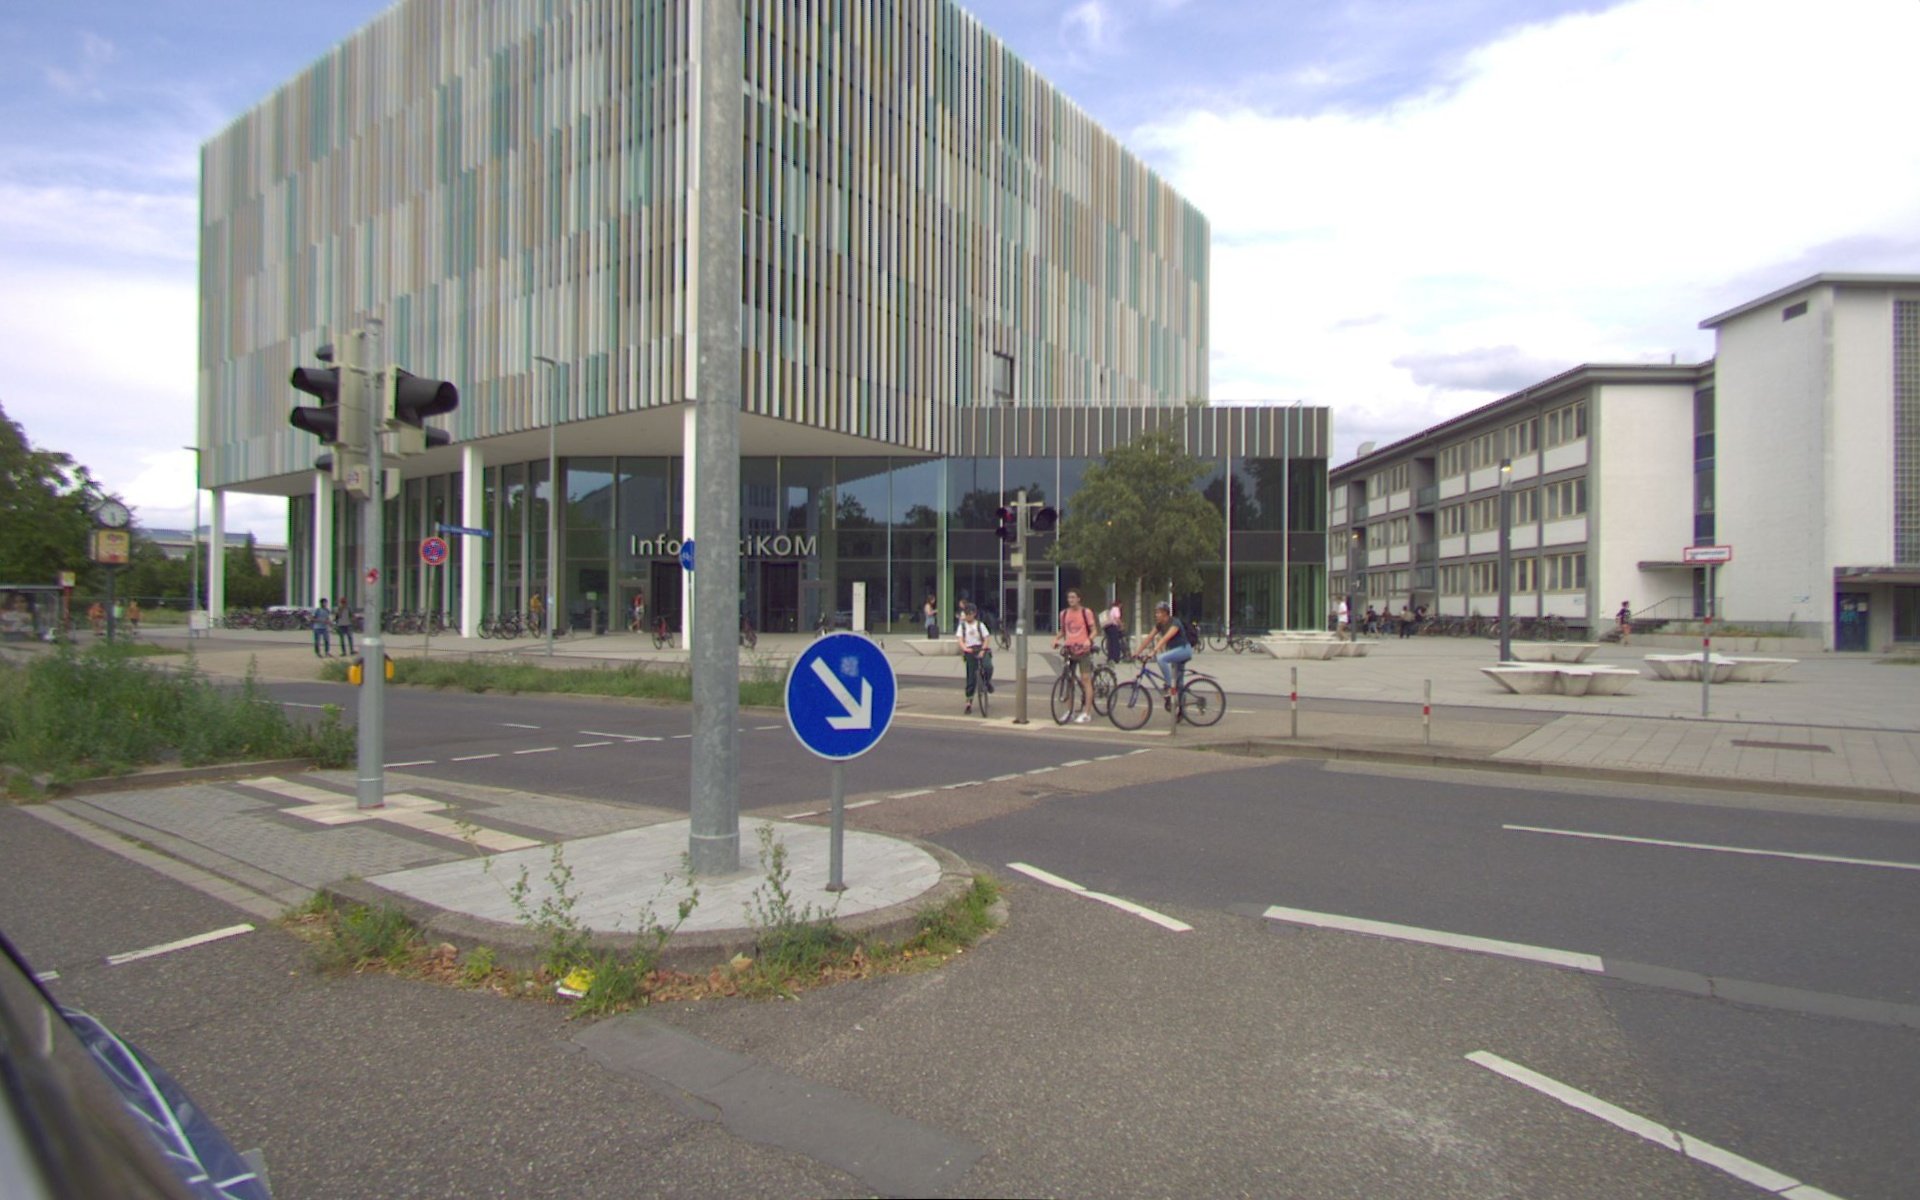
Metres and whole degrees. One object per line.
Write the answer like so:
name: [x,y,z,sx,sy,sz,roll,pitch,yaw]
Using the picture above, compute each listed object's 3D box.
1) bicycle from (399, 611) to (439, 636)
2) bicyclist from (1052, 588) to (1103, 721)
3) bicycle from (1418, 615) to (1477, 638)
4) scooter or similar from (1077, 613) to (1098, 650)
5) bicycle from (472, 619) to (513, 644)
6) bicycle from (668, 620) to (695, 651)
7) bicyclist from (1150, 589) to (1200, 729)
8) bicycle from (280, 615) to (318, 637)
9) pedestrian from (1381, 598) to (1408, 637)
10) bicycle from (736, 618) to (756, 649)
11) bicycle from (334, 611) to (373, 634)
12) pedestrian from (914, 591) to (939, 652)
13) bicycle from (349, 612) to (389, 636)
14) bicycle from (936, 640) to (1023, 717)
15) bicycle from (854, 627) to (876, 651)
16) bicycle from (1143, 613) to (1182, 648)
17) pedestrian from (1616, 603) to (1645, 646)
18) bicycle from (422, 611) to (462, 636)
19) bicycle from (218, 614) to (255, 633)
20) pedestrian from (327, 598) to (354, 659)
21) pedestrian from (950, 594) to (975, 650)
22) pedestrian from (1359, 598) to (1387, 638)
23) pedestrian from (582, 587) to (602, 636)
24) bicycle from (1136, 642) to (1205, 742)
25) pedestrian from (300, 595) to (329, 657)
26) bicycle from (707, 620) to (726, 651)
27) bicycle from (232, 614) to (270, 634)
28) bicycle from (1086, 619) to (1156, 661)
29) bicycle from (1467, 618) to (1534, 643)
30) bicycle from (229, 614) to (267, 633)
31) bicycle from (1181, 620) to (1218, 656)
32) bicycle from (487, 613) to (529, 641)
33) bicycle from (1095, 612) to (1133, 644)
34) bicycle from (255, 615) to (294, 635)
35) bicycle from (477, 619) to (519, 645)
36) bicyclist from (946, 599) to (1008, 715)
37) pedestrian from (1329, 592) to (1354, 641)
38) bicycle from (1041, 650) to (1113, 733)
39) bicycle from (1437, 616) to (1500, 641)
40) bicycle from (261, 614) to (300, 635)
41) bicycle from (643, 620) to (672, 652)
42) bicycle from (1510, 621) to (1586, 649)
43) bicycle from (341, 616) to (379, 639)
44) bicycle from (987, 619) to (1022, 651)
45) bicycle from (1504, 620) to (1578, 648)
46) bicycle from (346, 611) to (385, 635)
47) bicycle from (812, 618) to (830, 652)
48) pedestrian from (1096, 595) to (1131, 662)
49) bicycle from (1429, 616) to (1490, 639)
bicycle: [-24.264,1.055,45.403,0.388,1.031,1.565,-1,1,31]
bicyclist: [1.666,0.743,14.294,0.558,1.820,0.597,0,1,23]
bicycle: [24.894,1.353,51.711,2.638,1.142,0.745,0,-1,3]
scooter or similar: [4.229,1.034,33.683,0.588,1.207,2.122,0,-1,5]
bicycle: [-18.914,1.254,40.943,0.388,0.944,1.530,-1,1,31]
bicycle: [-9.559,1.207,34.768,0.389,0.944,1.596,-1,1,3]
bicyclist: [2.884,0.762,13.553,0.558,1.820,0.597,0,1,23]
bicycle: [-34.633,1.351,53.049,0.388,1.031,1.686,-1,1,31]
pedestrian: [21.849,0.884,50.909,0.962,1.945,1.070,0,-1,3]
bicycle: [-7.130,1.101,33.684,0.387,0.944,1.603,-1,1,-20]
bicycle: [-29.016,1.084,48.446,0.388,1.031,1.565,-1,1,31]
pedestrian: [-0.964,0.608,29.458,0.669,1.753,0.730,0,-1,3]
bicycle: [-27.060,1.086,46.336,0.388,1.031,1.565,-1,1,31]
bicycle: [0.323,1.163,15.488,0.724,0.996,1.809,0,1,22]
bicycle: [-3.192,1.293,33.804,0.387,0.678,1.801,-1,1,-16]
bicycle: [6.646,0.975,33.083,0.791,1.097,2.664,0,-1,21]
pedestrian: [24.827,0.910,37.483,0.589,1.560,0.659,0,-1,-11]
bicycle: [-22.518,1.010,44.052,0.388,1.031,1.565,-1,1,31]
bicycle: [-41.477,1.331,58.035,0.433,1.031,1.686,-1,1,31]
pedestrian: [-18.979,0.878,31.023,0.623,1.851,0.506,-2,-2,36]
pedestrian: [0.070,0.643,29.654,0.670,1.612,0.729,0,-1,6]
pedestrian: [20.636,0.896,50.575,0.962,1.945,1.070,0,-1,3]
pedestrian: [-15.469,0.478,42.544,0.623,2.059,0.506,-2,-2,35]
bicycle: [2.832,1.175,13.486,0.603,1.179,1.882,0,-1,21]
pedestrian: [-19.383,0.782,30.383,0.771,1.851,0.506,-2,-2,36]
bicycle: [-8.057,1.152,33.461,0.387,0.944,1.603,-1,1,-20]
bicycle: [-39.637,1.332,56.560,0.433,1.031,1.686,-1,1,31]
bicycle: [3.985,0.975,25.124,1.747,1.006,0.434,-1,-1,40]
bicycle: [24.801,1.404,46.469,2.638,1.142,0.745,0,-1,3]
bicycle: [-40.240,1.330,57.221,0.433,1.031,1.686,-1,1,31]
bicycle: [7.736,1.204,32.631,0.791,1.097,2.664,0,-1,21]
bicycle: [-17.812,1.050,39.876,0.398,1.002,1.529,-1,1,32]
bicycle: [5.091,0.902,33.298,0.668,1.007,2.664,0,-1,21]
bicycle: [-36.795,1.333,54.307,0.433,1.031,1.686,-1,1,31]
bicycle: [-18.382,1.261,40.273,0.393,0.944,1.530,-1,1,31]
bicyclist: [0.272,0.843,15.370,0.719,1.685,0.723,0,1,23]
pedestrian: [13.956,0.609,37.039,0.626,1.792,0.597,0,-1,-8]
bicycle: [1.675,1.256,14.307,0.568,0.996,1.679,0,1,22]
bicycle: [24.658,1.380,49.128,2.638,1.142,0.745,0,-1,3]
bicycle: [-36.102,1.313,53.814,0.433,1.031,1.686,-1,1,31]
bicycle: [-10.101,1.191,33.852,0.389,0.944,1.609,-1,1,3]
bicycle: [24.331,1.452,41.911,2.638,1.142,0.745,0,-1,3]
bicycle: [-28.518,1.293,48.125,0.388,1.031,1.565,-1,1,31]
bicycle: [1.432,1.121,33.105,0.613,0.992,2.255,0,-1,-11]
bicycle: [24.729,1.438,43.097,2.638,1.142,0.745,0,-1,3]
bicycle: [-28.113,1.085,47.866,0.388,1.031,1.565,-1,1,31]
bicycle: [-4.606,1.144,33.576,0.388,1.037,1.547,-1,1,-1]
pedestrian: [3.683,0.676,24.295,0.574,1.593,0.644,-1,-1,41]
bicycle: [24.838,1.366,50.355,2.638,1.142,0.745,0,-1,3]
